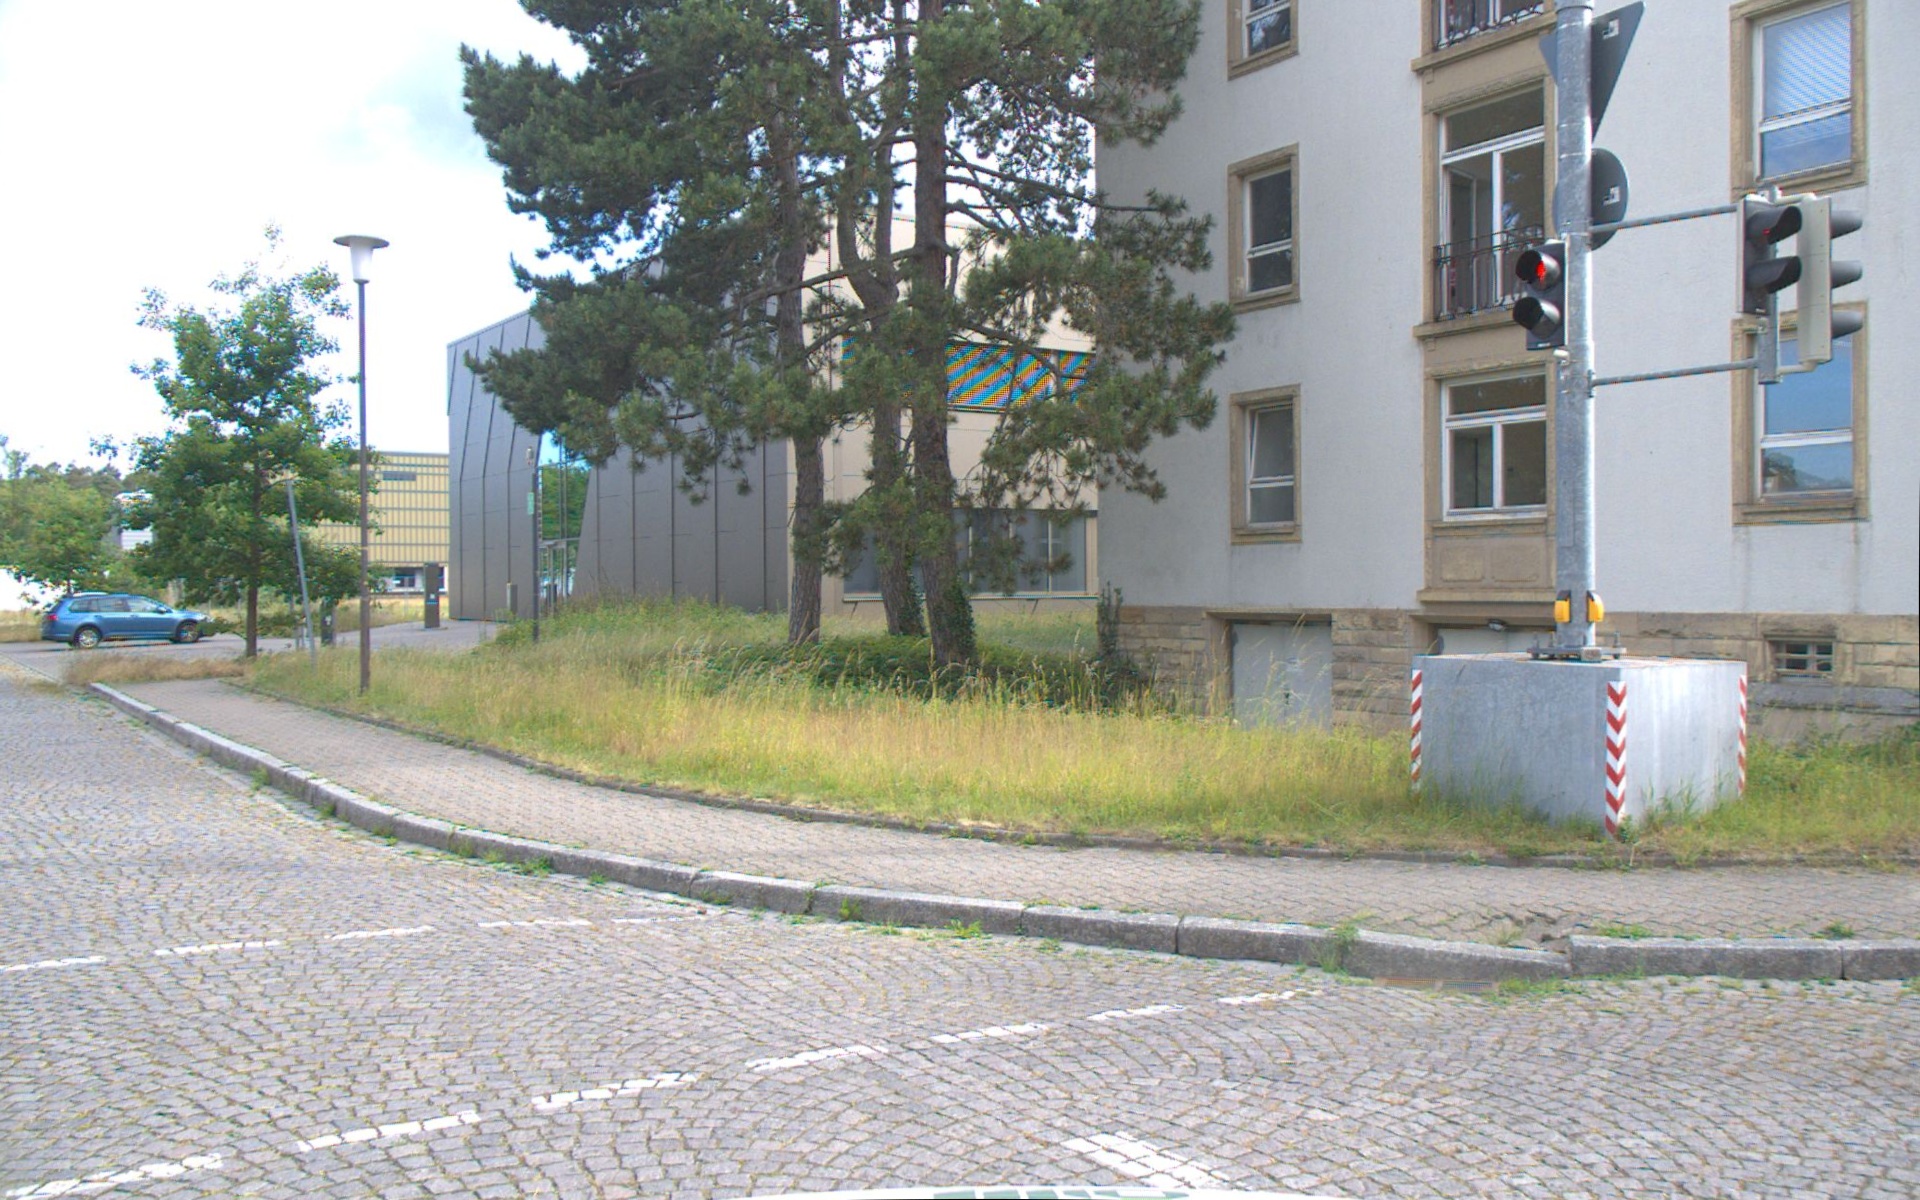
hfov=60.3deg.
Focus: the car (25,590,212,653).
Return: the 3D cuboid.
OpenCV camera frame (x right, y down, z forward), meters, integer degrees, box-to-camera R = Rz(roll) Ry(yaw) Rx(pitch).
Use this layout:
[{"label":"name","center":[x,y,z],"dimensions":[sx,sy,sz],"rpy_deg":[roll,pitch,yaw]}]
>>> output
[{"label":"car","center":[-24.097,0.576,47.418],"dimensions":[4.485,1.558,1.973],"rpy_deg":[-3,2,-38]}]
